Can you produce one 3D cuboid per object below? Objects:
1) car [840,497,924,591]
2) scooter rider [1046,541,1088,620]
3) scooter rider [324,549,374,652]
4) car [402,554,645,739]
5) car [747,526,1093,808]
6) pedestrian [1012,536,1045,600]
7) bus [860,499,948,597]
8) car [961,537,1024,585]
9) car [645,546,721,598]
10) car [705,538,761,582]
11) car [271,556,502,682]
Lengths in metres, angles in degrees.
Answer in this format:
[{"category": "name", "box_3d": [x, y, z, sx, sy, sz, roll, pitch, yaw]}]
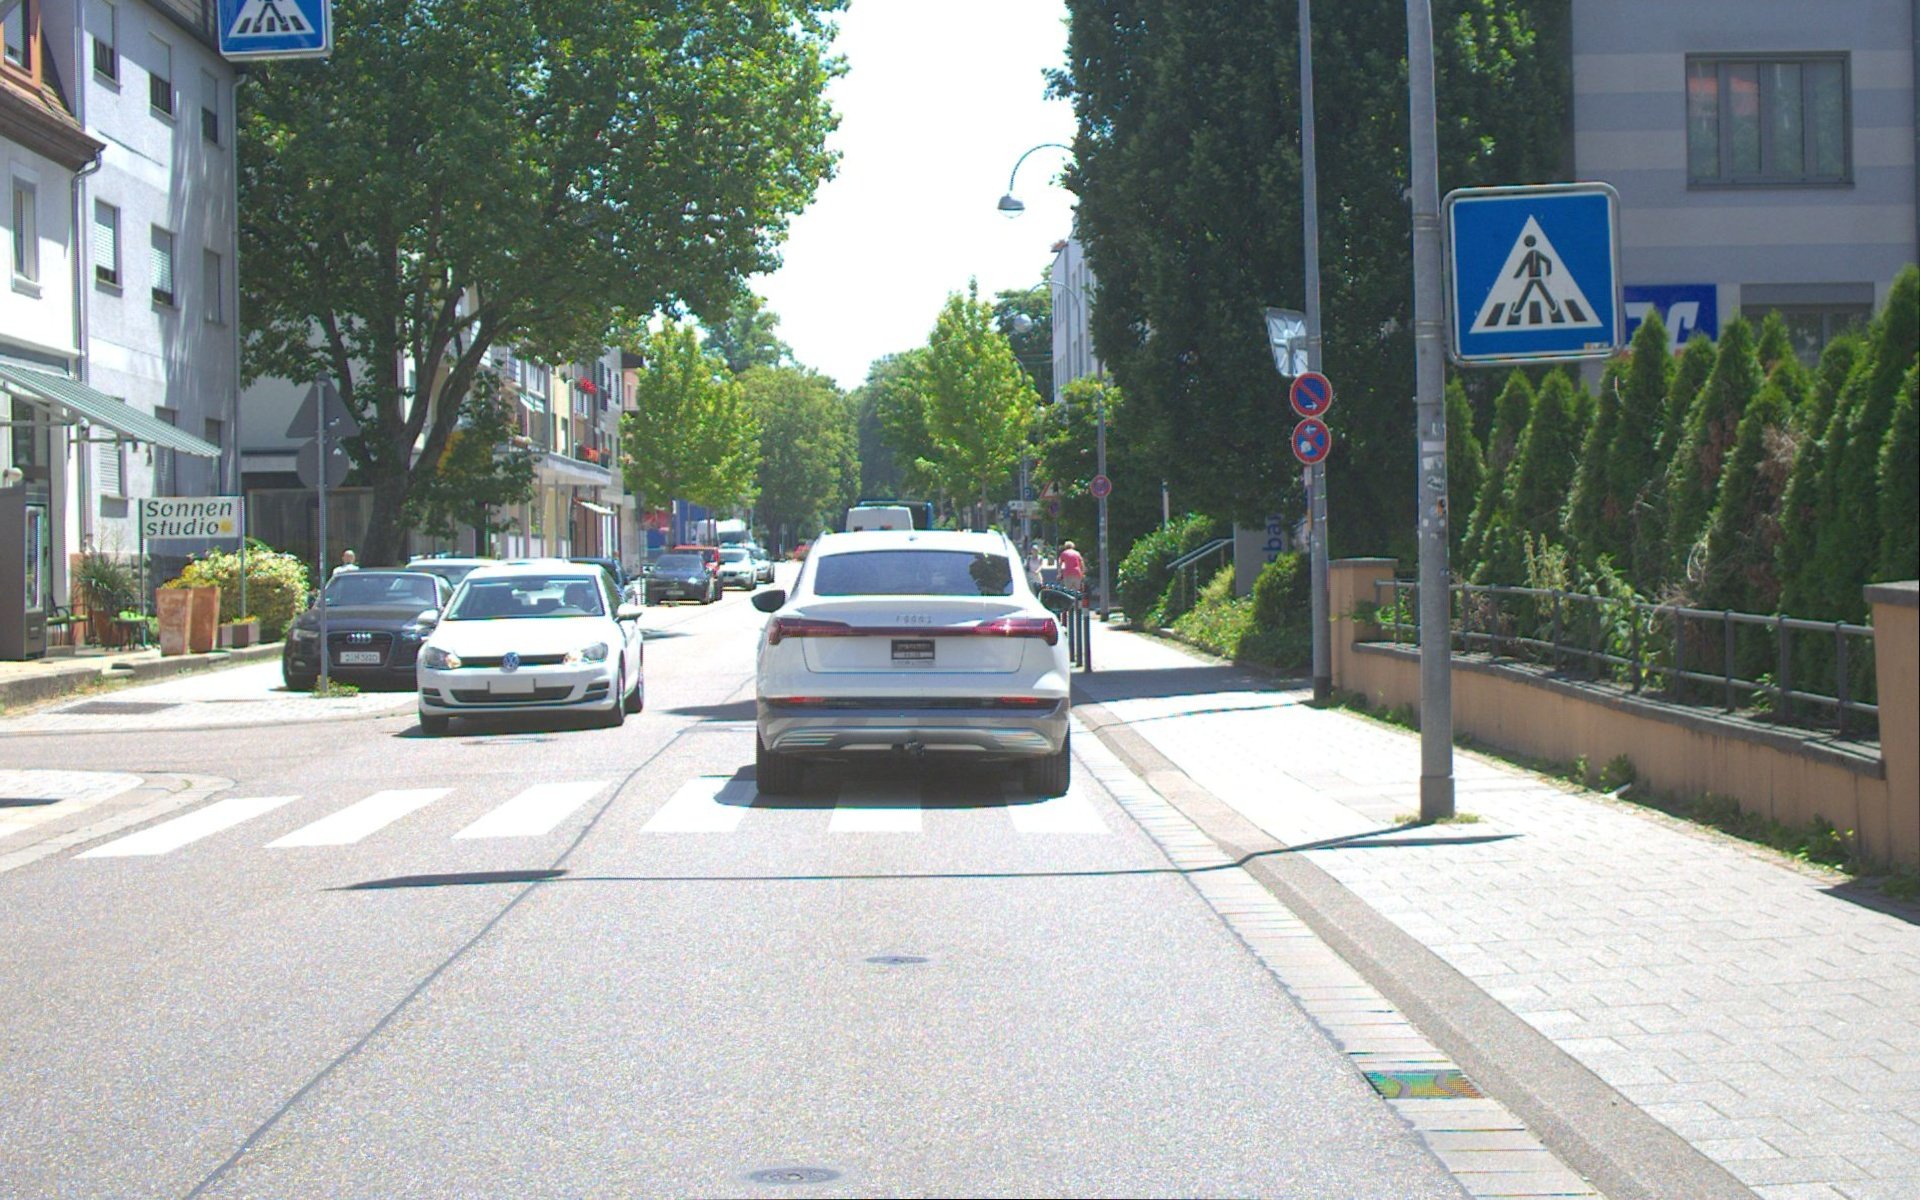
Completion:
[{"category": "car", "box_3d": [-2.085, -1.493, 92.538, 2.156, 2.433, 5.284, 1, 1, -1]}, {"category": "scooter rider", "box_3d": [2.133, -0.402, 68.638, 0.716, 1.543, 0.770, -2, 1, -3]}, {"category": "scooter rider", "box_3d": [-9.512, 0.004, 53.561, 0.588, 1.570, 0.877, 1, 1, 0]}, {"category": "car", "box_3d": [-3.870, 0.369, 31.025, 1.807, 1.477, 3.870, -3, 1, -3]}, {"category": "car", "box_3d": [-0.308, 0.355, 21.934, 1.993, 1.627, 4.001, 0, 1, -2]}, {"category": "pedestrian", "box_3d": [1.785, -0.827, 90.006, 0.700, 1.621, 0.784, -4, 1, -2]}, {"category": "bus", "box_3d": [-1.894, -1.771, 118.310, 2.661, 3.210, 7.301, 1, 1, 2]}, {"category": "car", "box_3d": [1.008, -1.238, 107.144, 1.896, 1.433, 4.544, -1, 1, 1]}, {"category": "car", "box_3d": [-8.028, -0.834, 99.871, 1.896, 1.412, 5.048, 1, 1, -2]}, {"category": "car", "box_3d": [-8.544, -1.523, 129.649, 1.752, 1.612, 4.401, 1, 1, 0]}, {"category": "car", "box_3d": [-6.775, 0.185, 41.120, 1.942, 1.369, 5.098, 0, 1, 0]}]
